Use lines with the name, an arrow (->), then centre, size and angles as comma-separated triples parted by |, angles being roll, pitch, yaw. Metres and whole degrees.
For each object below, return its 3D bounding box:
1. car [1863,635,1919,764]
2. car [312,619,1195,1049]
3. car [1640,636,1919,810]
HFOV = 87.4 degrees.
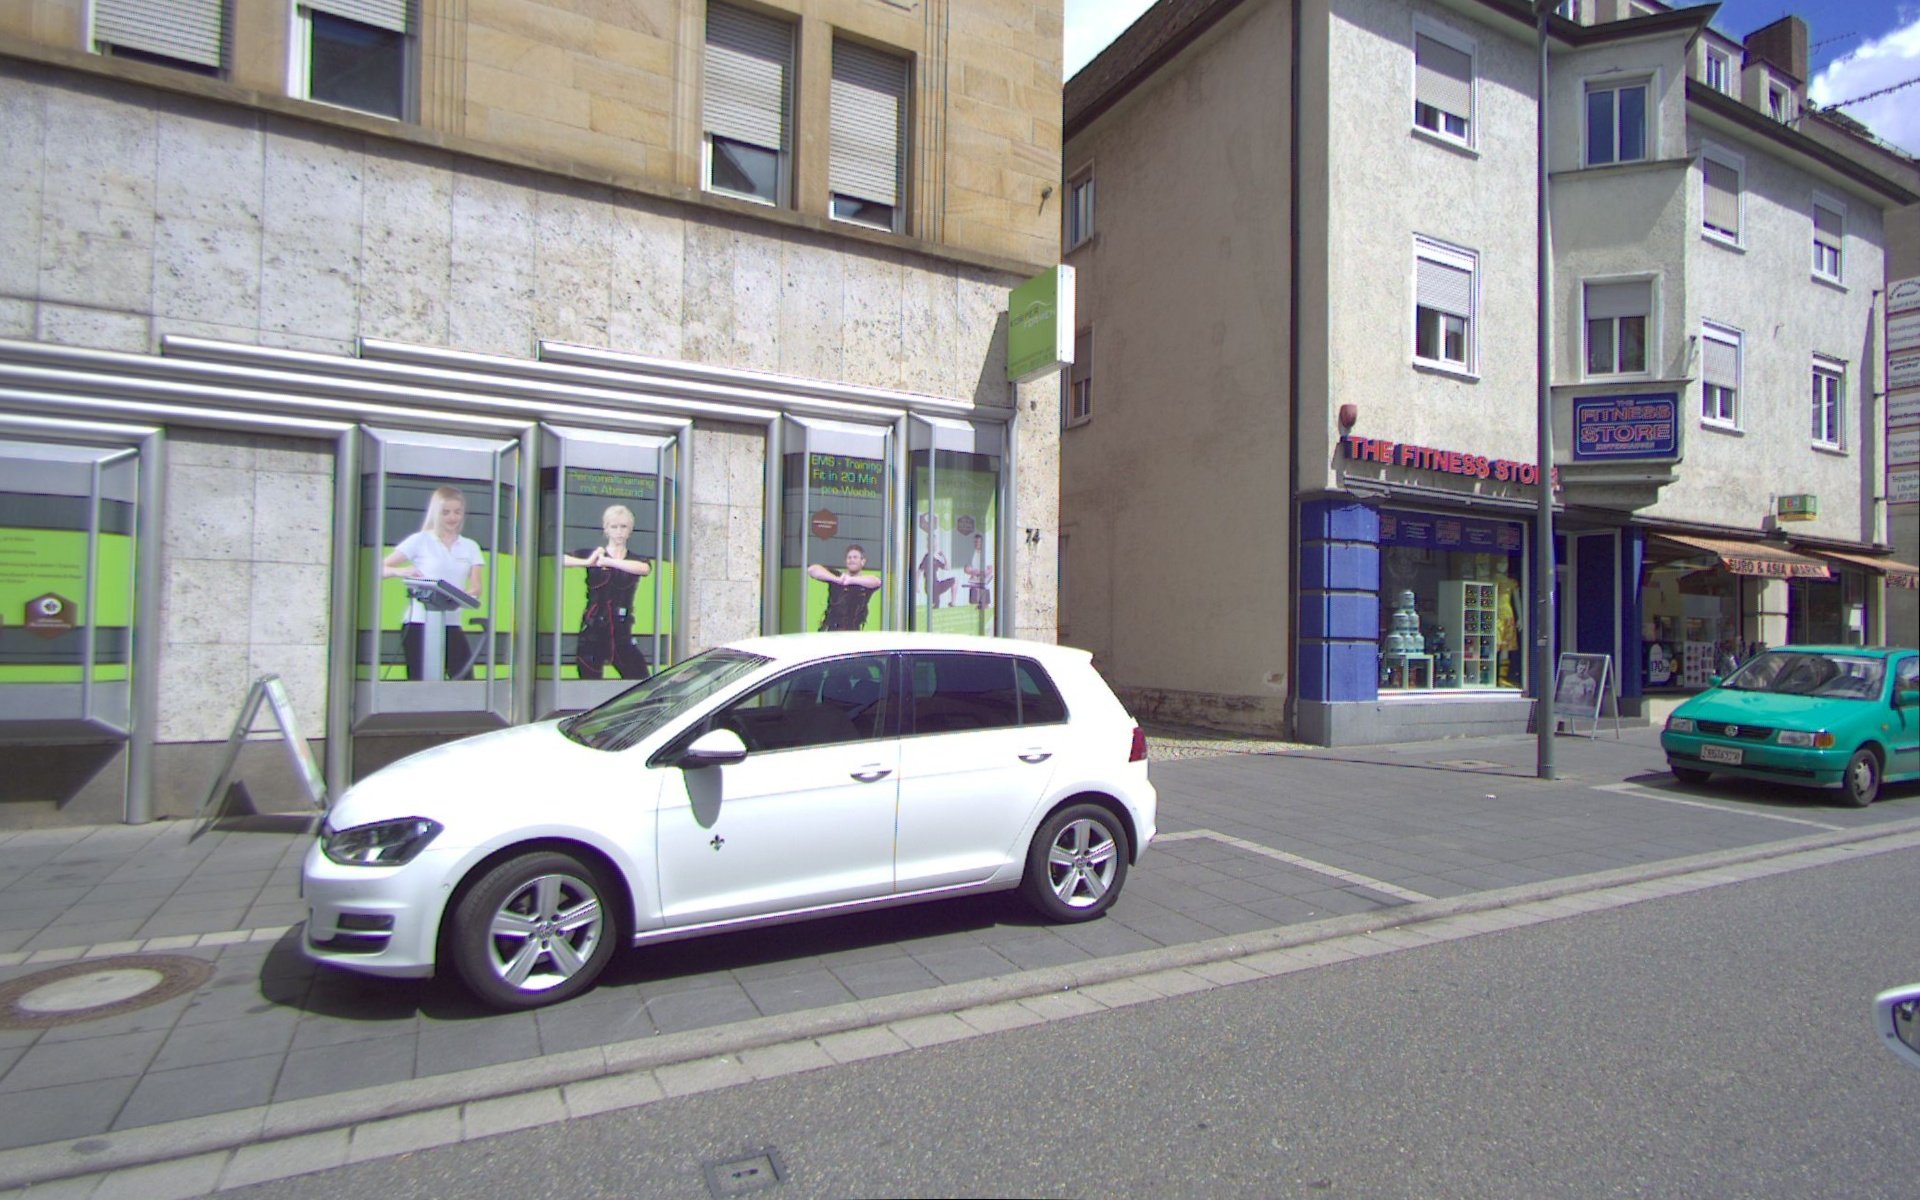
car -> 12.680, 1.221, 12.440 | 3.524, 1.465, 1.585 | 2, -1, -37
car -> -0.916, 0.877, 5.230 | 3.990, 1.416, 1.837 | 2, 0, -30
car -> 8.777, 1.145, 10.147 | 3.621, 1.433, 1.580 | 2, 0, -27
